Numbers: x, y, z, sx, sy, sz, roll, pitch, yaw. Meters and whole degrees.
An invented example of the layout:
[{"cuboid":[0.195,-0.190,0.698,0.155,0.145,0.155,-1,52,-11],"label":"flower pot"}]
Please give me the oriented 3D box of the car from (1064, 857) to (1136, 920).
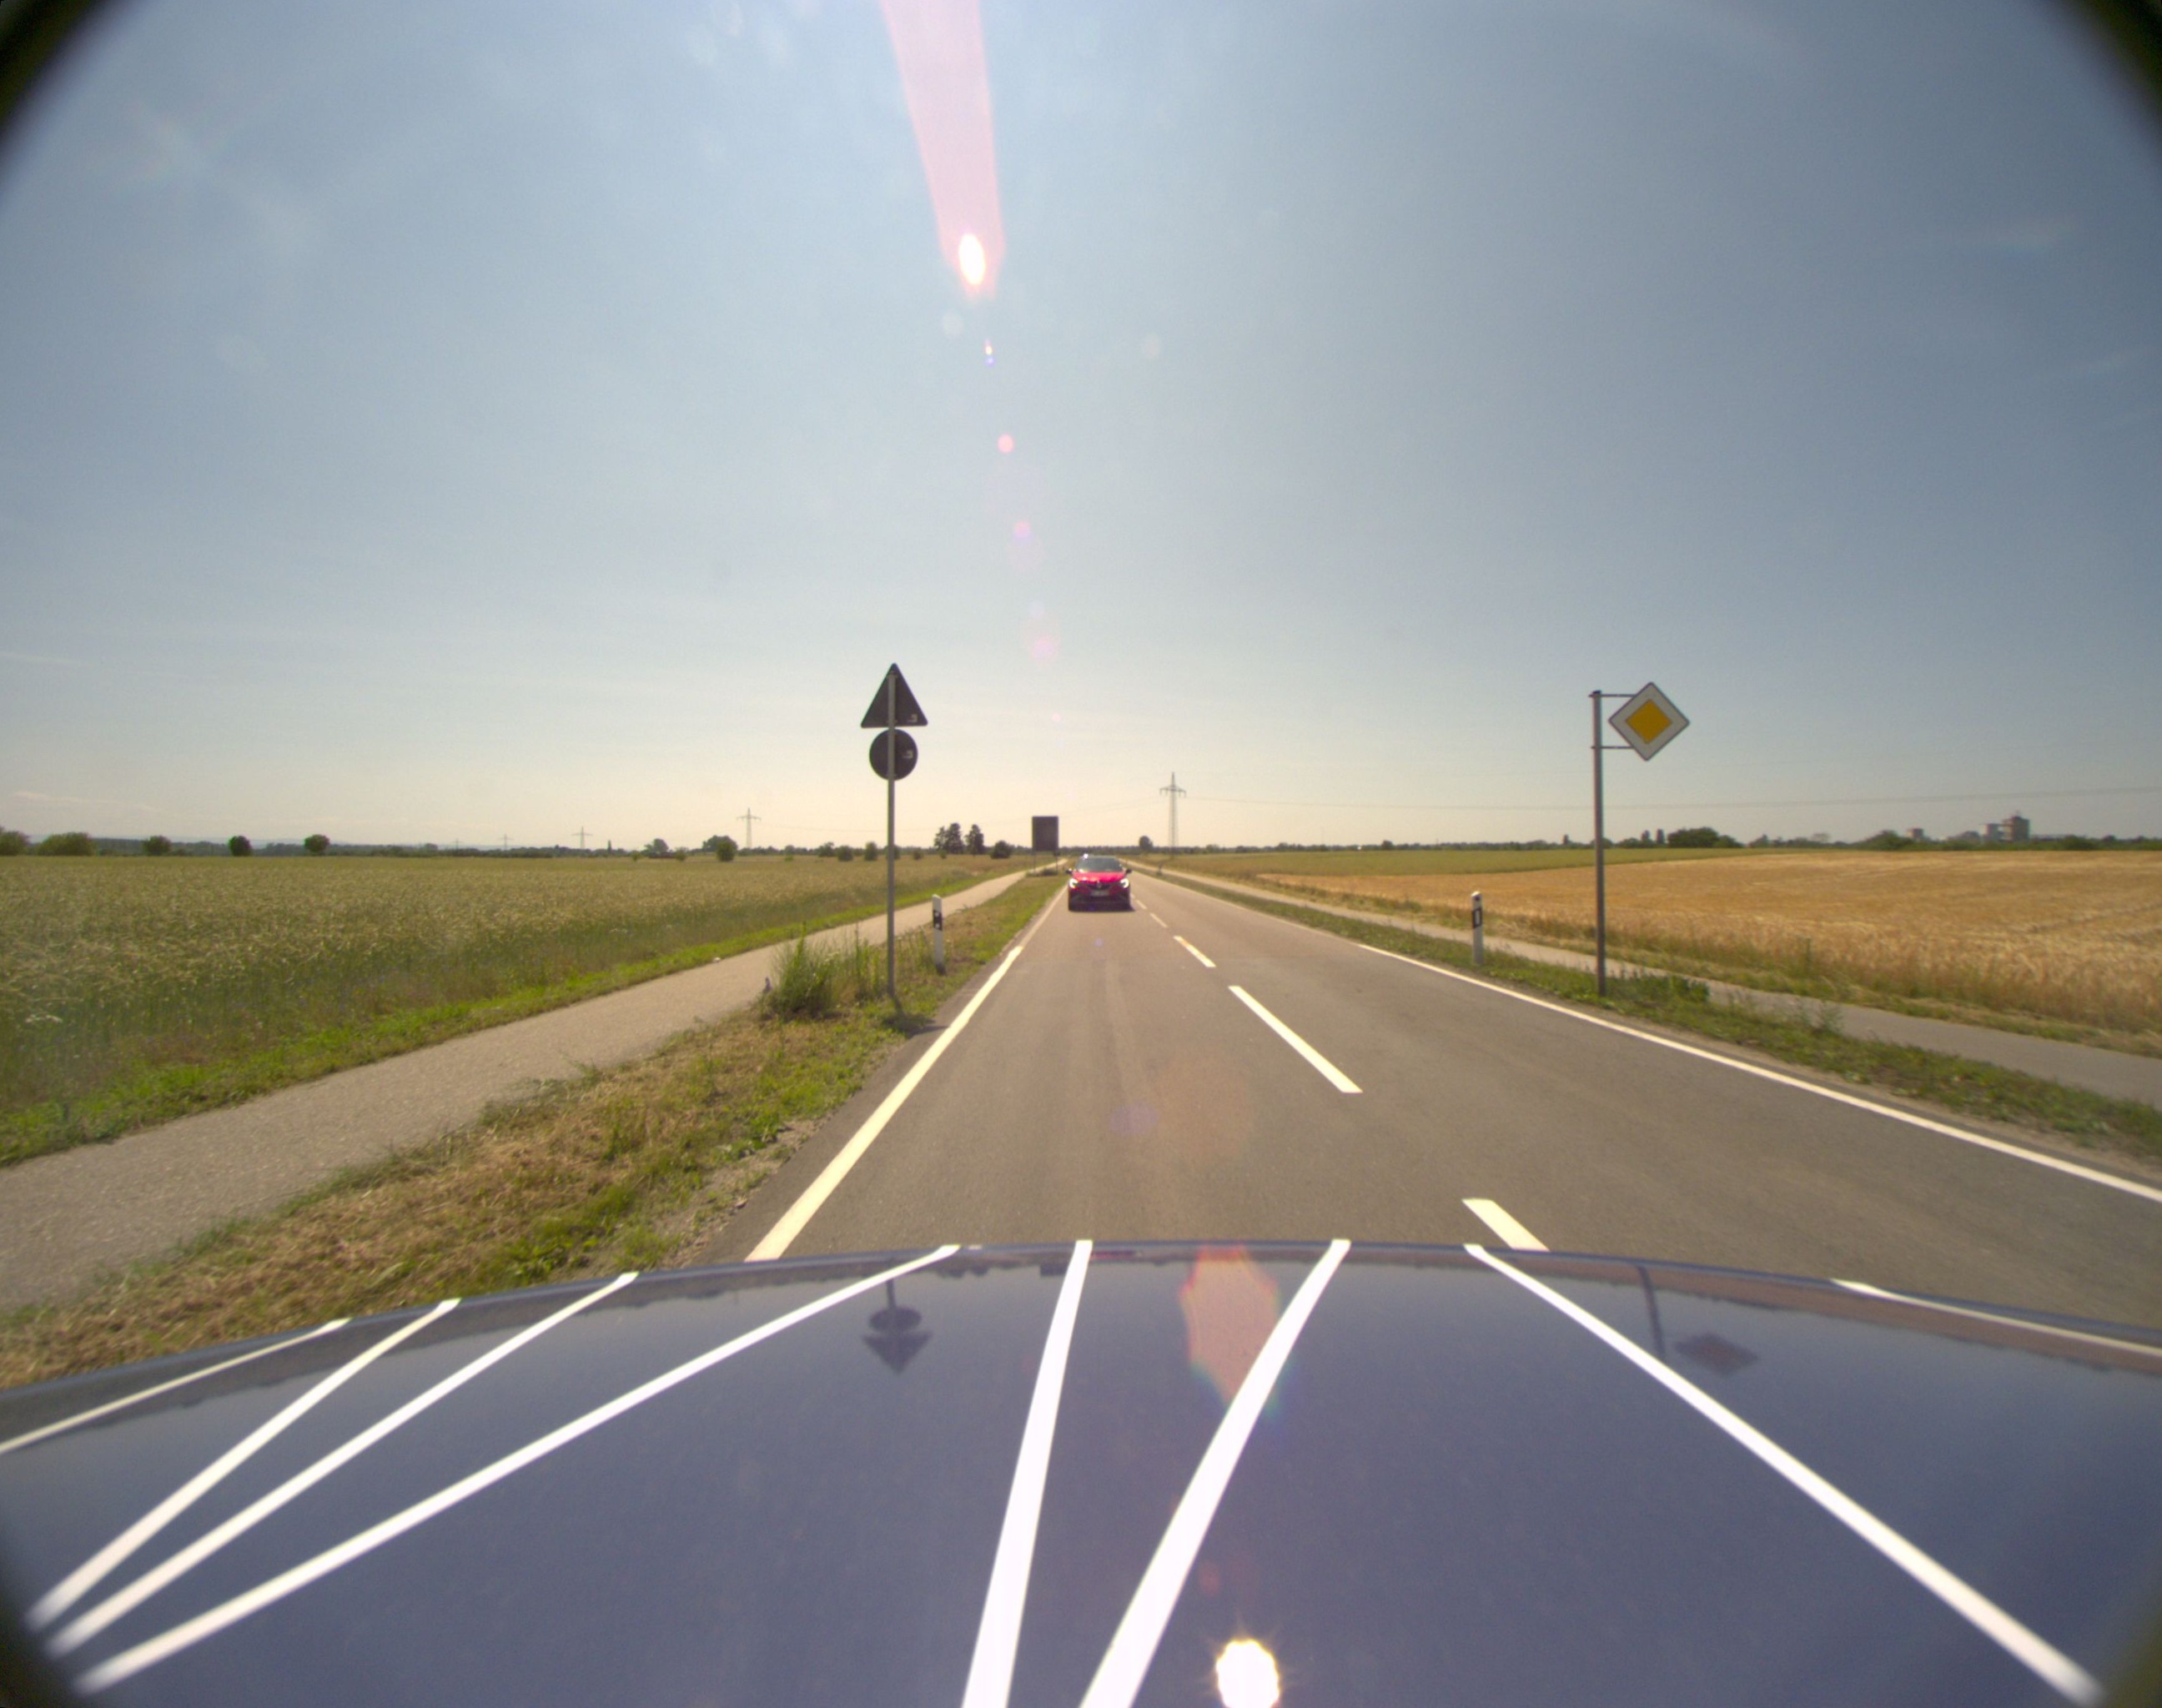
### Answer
[{"cuboid":[0.480,0.896,21.741,1.827,1.543,4.448,-1,0,0],"label":"car"}]
